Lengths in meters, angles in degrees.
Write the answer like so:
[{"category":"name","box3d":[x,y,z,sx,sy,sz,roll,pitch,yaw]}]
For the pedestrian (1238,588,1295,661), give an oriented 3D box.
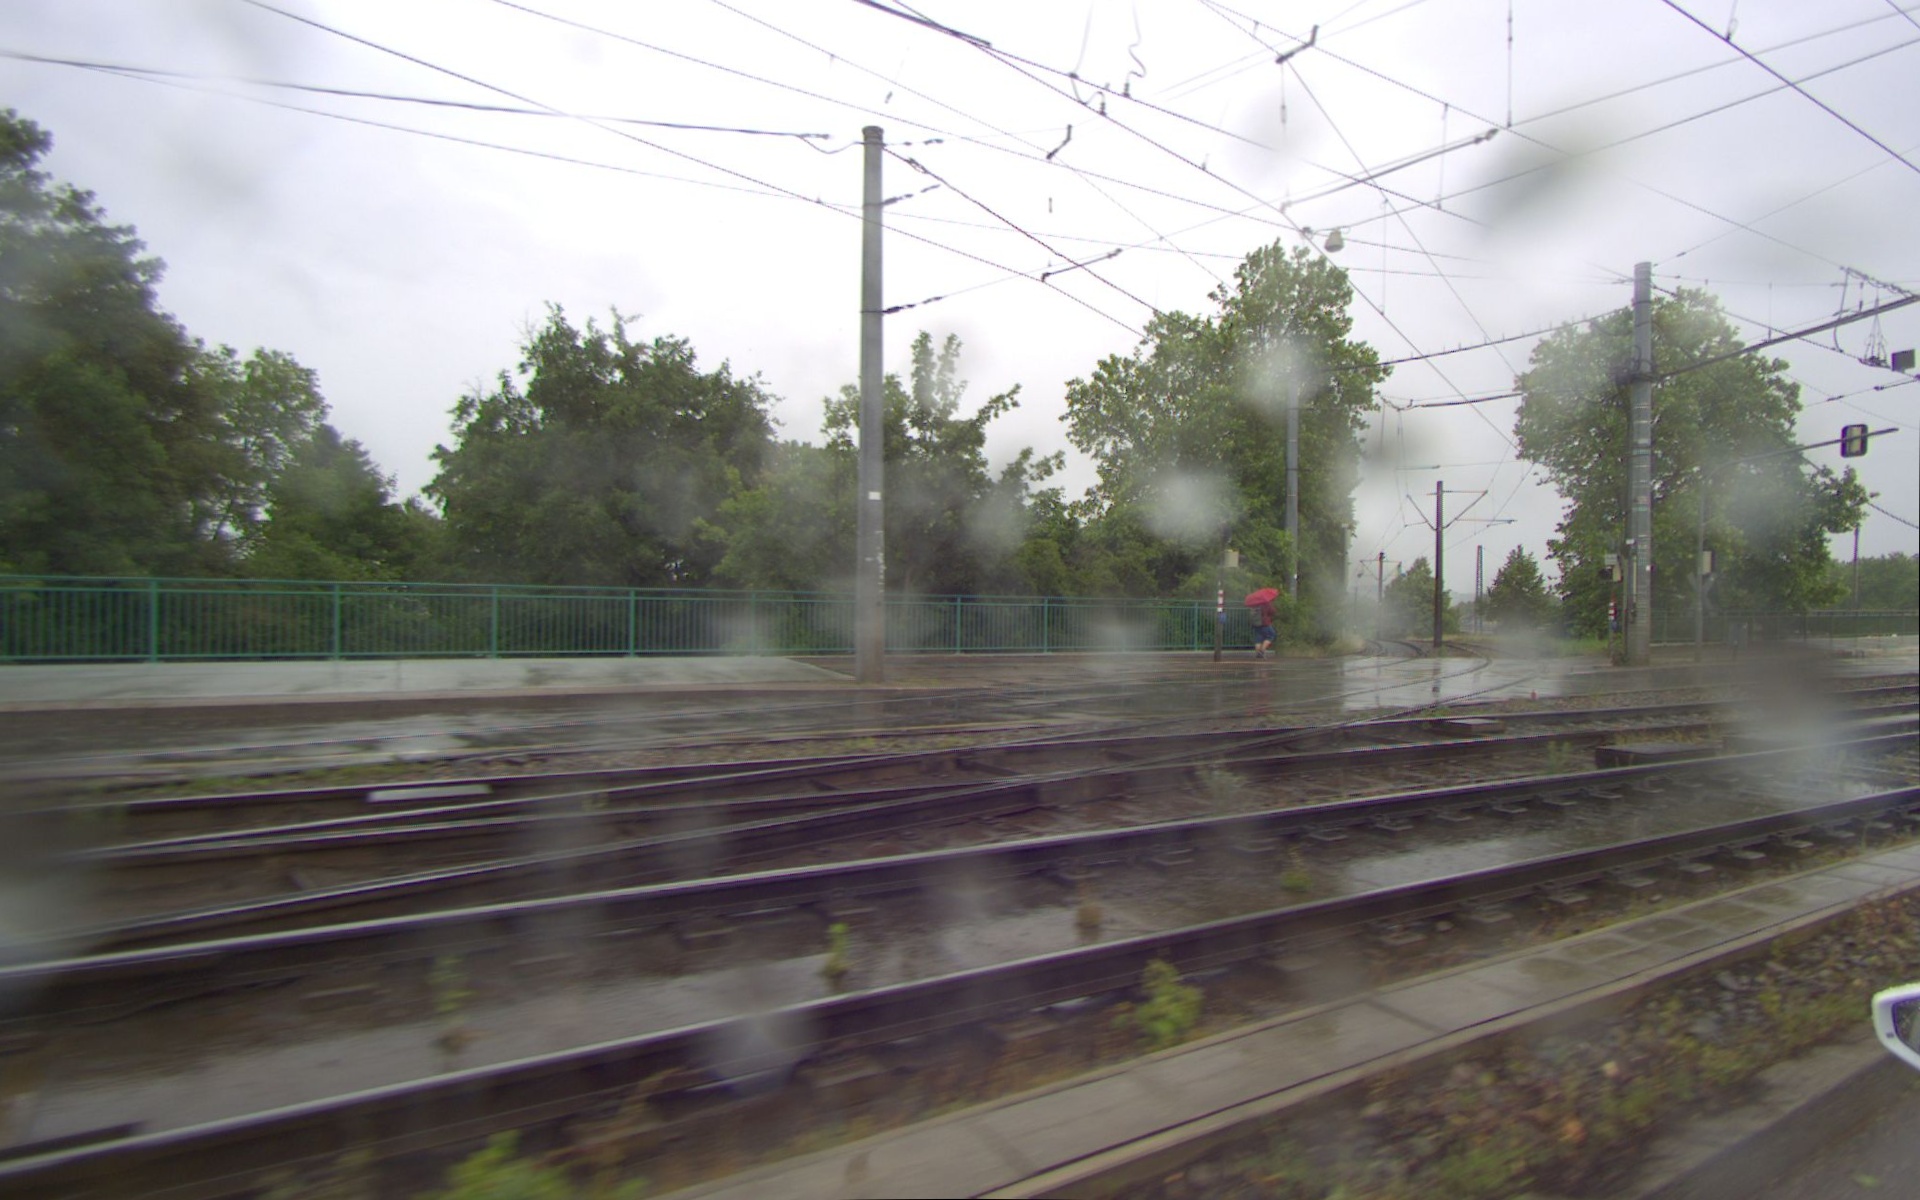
[{"category":"pedestrian","box3d":[7.960,0.640,26.092,1.031,1.843,0.860,2,1,-31]}]
